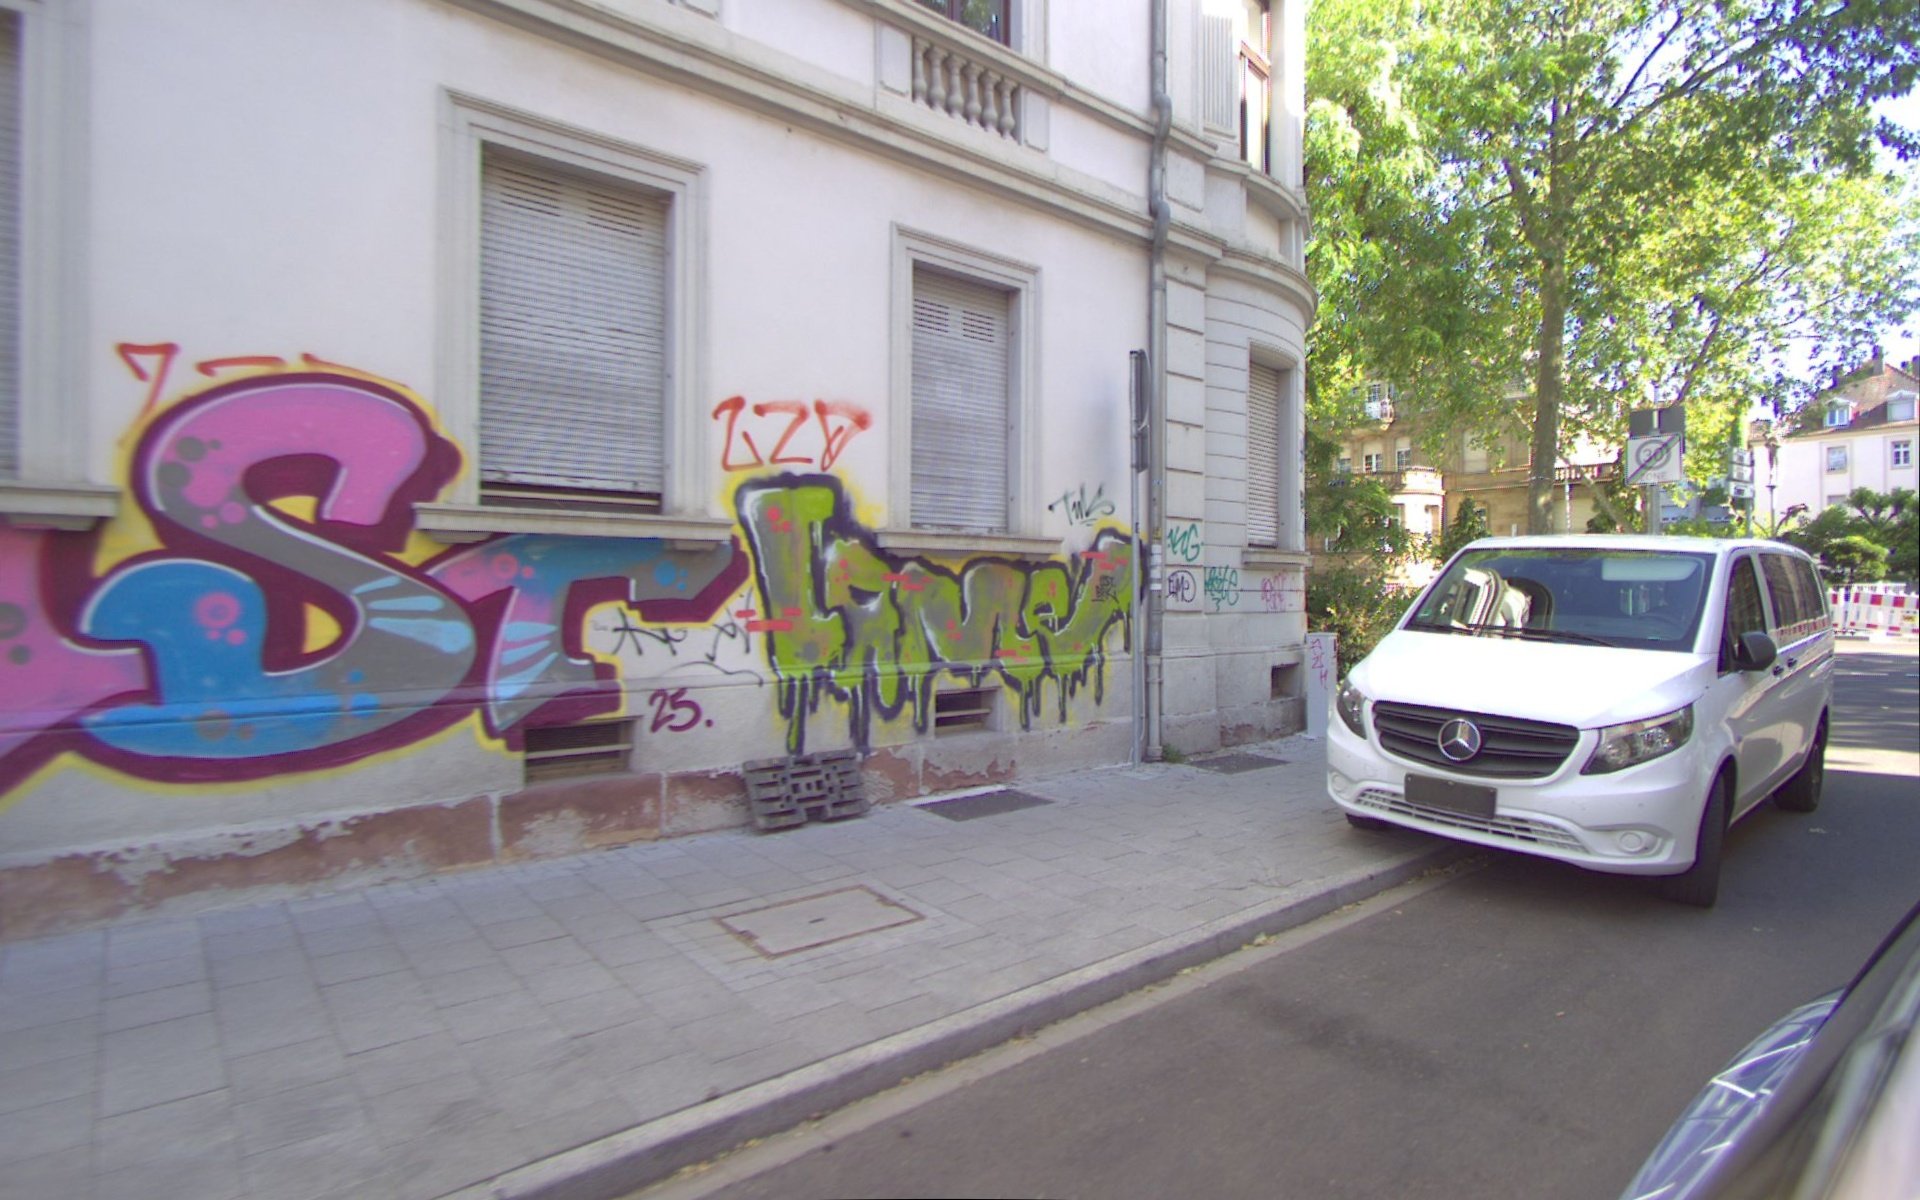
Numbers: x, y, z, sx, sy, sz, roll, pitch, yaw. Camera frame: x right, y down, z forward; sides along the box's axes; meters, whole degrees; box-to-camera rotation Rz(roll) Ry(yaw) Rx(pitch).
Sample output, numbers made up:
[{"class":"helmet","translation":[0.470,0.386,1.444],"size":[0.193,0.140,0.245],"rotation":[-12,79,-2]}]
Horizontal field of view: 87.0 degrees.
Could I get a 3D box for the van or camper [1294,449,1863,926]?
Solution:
[{"class":"van or camper","translation":[4.356,0.363,6.698],"size":[4.944,2.039,1.896],"rotation":[0,0,-42]}]
